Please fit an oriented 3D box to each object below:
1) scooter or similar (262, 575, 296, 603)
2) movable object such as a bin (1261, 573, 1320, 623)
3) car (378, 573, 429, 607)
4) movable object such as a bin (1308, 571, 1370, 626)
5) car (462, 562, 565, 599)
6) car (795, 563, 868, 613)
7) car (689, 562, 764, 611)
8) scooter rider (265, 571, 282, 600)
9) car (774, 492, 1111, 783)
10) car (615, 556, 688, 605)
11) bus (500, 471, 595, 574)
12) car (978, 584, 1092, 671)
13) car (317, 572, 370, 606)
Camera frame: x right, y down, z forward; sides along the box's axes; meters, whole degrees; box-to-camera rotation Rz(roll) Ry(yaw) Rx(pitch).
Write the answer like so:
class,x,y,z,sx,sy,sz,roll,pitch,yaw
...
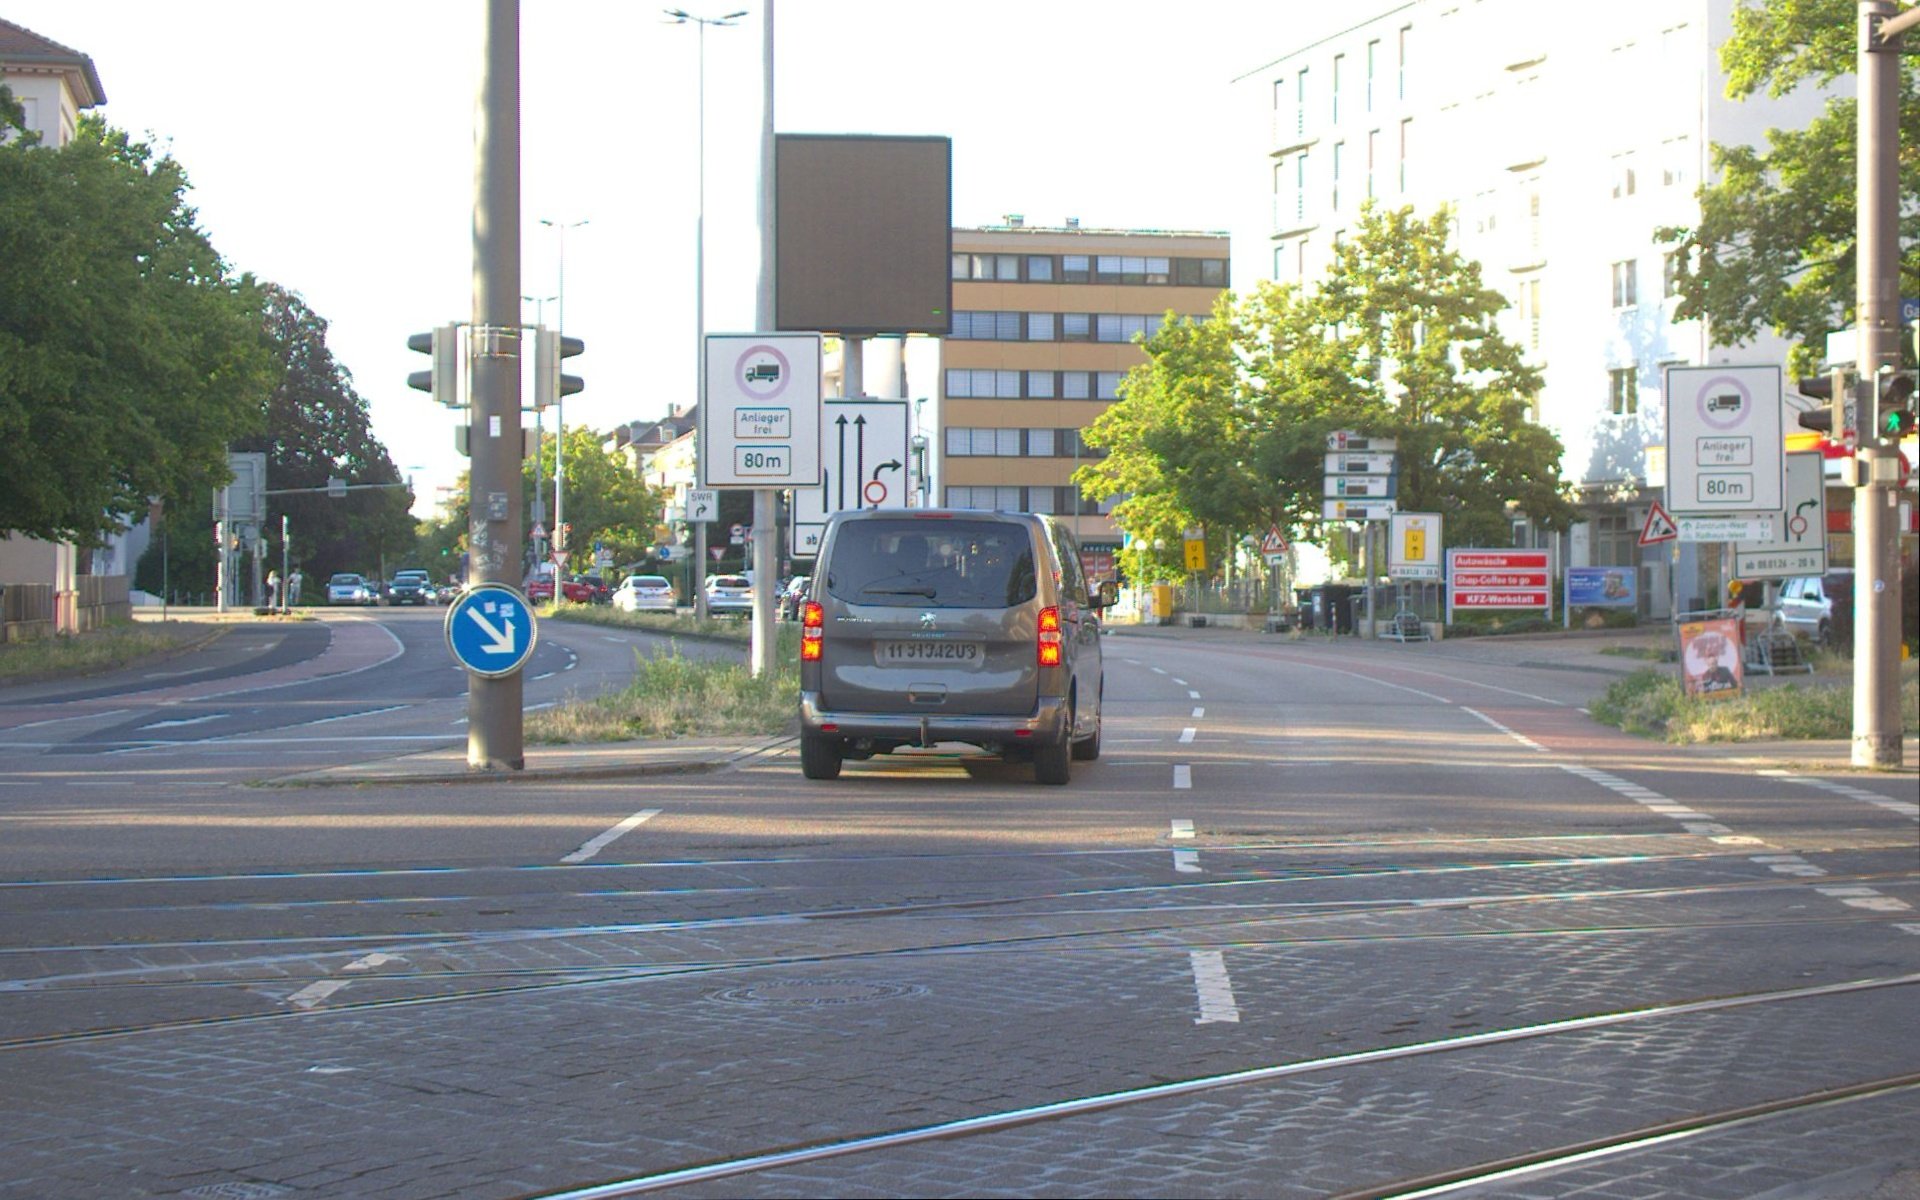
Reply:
class,x,y,z,sx,sy,sz,roll,pitch,yaw
scooter or similar,-24.594,-0.407,124.217,1.098,0.973,0.559,2,0,-19
movable object such as a bin,9.159,-0.054,95.357,1.462,1.381,1.547,0,1,-1
car,-26.651,-0.483,164.725,1.993,1.590,4.001,0,1,-3
movable object such as a bin,10.141,-0.052,92.015,1.462,1.449,1.547,0,1,-1
car,-19.334,-0.845,148.803,3.986,1.590,2.000,0,1,-27
car,-4.328,-0.420,115.173,1.993,1.651,4.300,0,1,-8
car,-8.159,-0.483,119.704,1.993,1.651,4.300,0,1,-12
scooter rider,-24.809,-0.523,124.148,0.509,1.032,0.446,2,0,-20
car,-0.027,0.245,25.063,1.994,1.894,4.298,1,0,5
car,-10.659,-0.671,118.491,1.993,1.651,4.300,0,1,-12
bus,-19.648,-3.611,163.359,3.289,4.601,10.003,2,0,-13
car,1.368,0.497,64.031,1.845,1.539,3.632,0,1,-3
car,-29.403,-0.543,164.070,1.993,1.590,4.001,0,1,-3
